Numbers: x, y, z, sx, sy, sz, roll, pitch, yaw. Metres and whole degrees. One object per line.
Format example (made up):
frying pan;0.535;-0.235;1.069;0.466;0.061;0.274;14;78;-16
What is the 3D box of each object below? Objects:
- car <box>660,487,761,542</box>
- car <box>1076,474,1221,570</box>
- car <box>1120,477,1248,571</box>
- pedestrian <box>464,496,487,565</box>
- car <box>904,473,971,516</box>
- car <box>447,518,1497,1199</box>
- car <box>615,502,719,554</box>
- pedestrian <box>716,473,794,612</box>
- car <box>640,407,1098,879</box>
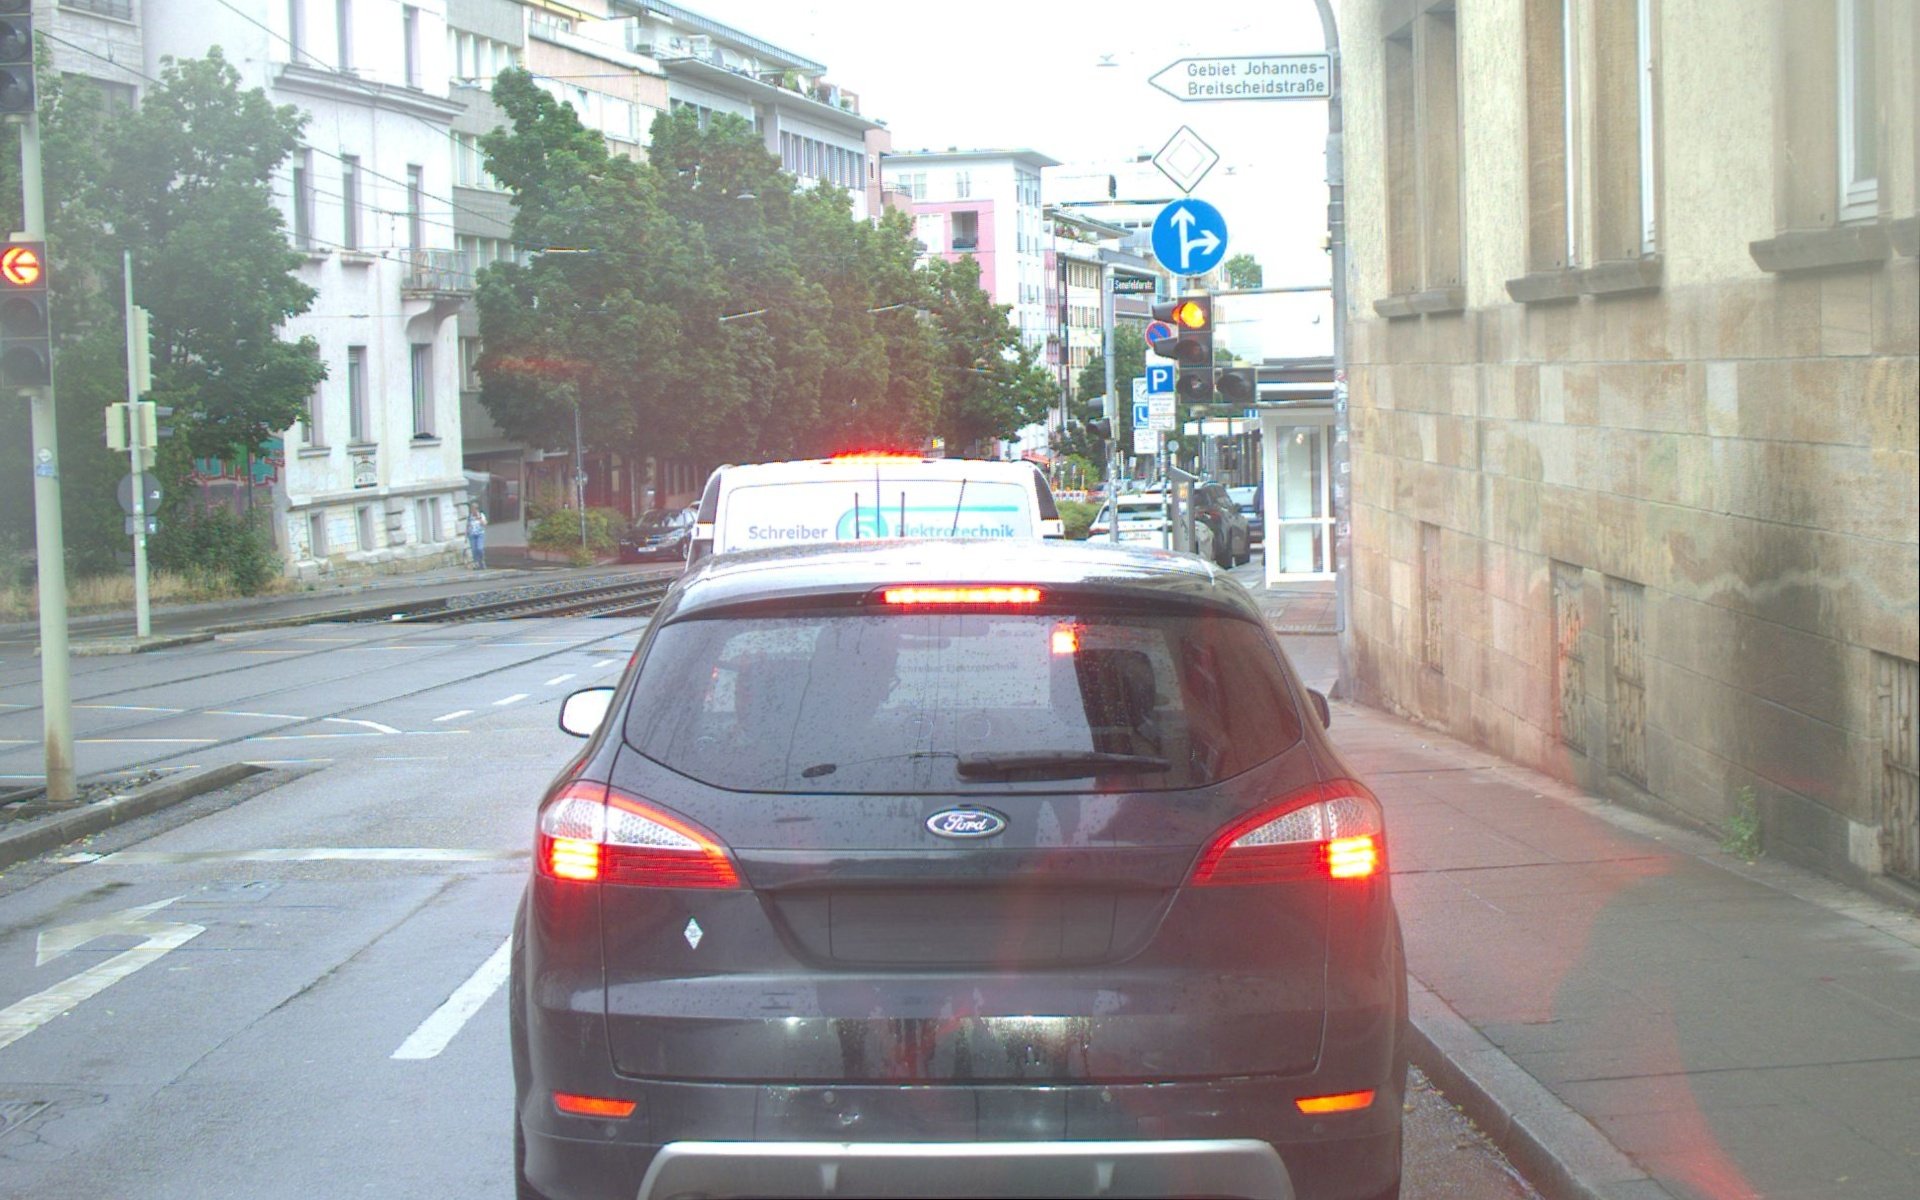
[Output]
car;-7.277;-2.477;100.596;1.856;1.543;4.719;-1;1;10
car;3.161;-1.290;56.881;1.802;1.450;4.585;-2;1;10
car;4.170;-1.389;63.335;1.846;1.627;4.585;-1;1;10
pedestrian;-11.718;-1.671;83.132;0.467;1.646;0.582;1;1;-2
car;-0.902;-4.290;140.364;1.856;1.631;4.933;-1;1;10
car;-0.006;0.586;8.058;1.842;1.502;4.000;0;1;-1
car;-8.010;-1.953;94.522;1.694;1.373;4.719;-1;0;10
pedestrian;-2.739;-0.767;45.935;0.930;1.823;0.959;1;1;2
car;-0.455;0.159;17.345;1.988;2.053;4.645;0;1;-1
